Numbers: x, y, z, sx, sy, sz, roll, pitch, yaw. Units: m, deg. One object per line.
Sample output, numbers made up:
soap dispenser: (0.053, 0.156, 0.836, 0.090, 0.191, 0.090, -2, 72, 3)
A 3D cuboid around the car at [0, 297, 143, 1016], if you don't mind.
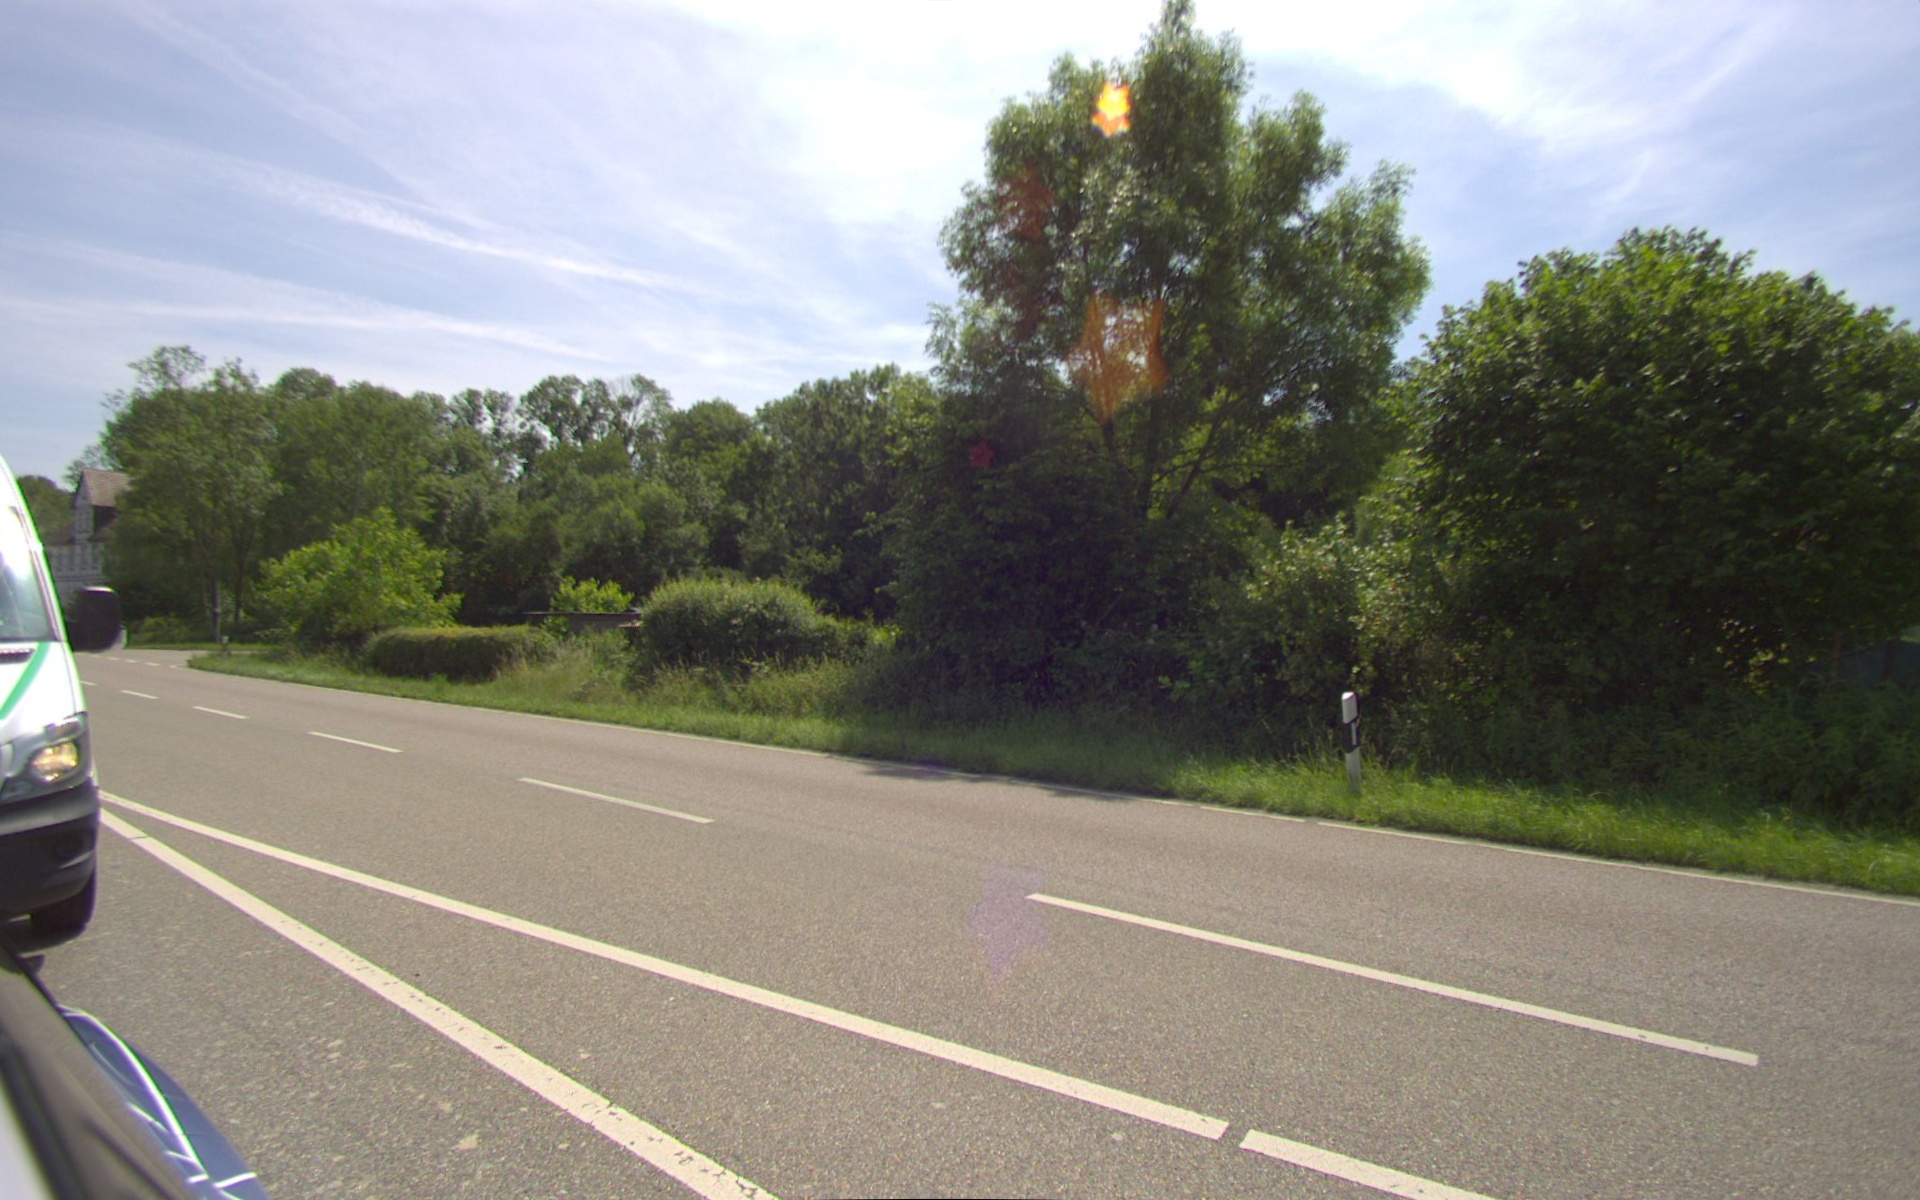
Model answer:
car: (-6.140, 0.246, 5.143, 5.674, 2.691, 1.937, -1, -1, 39)
